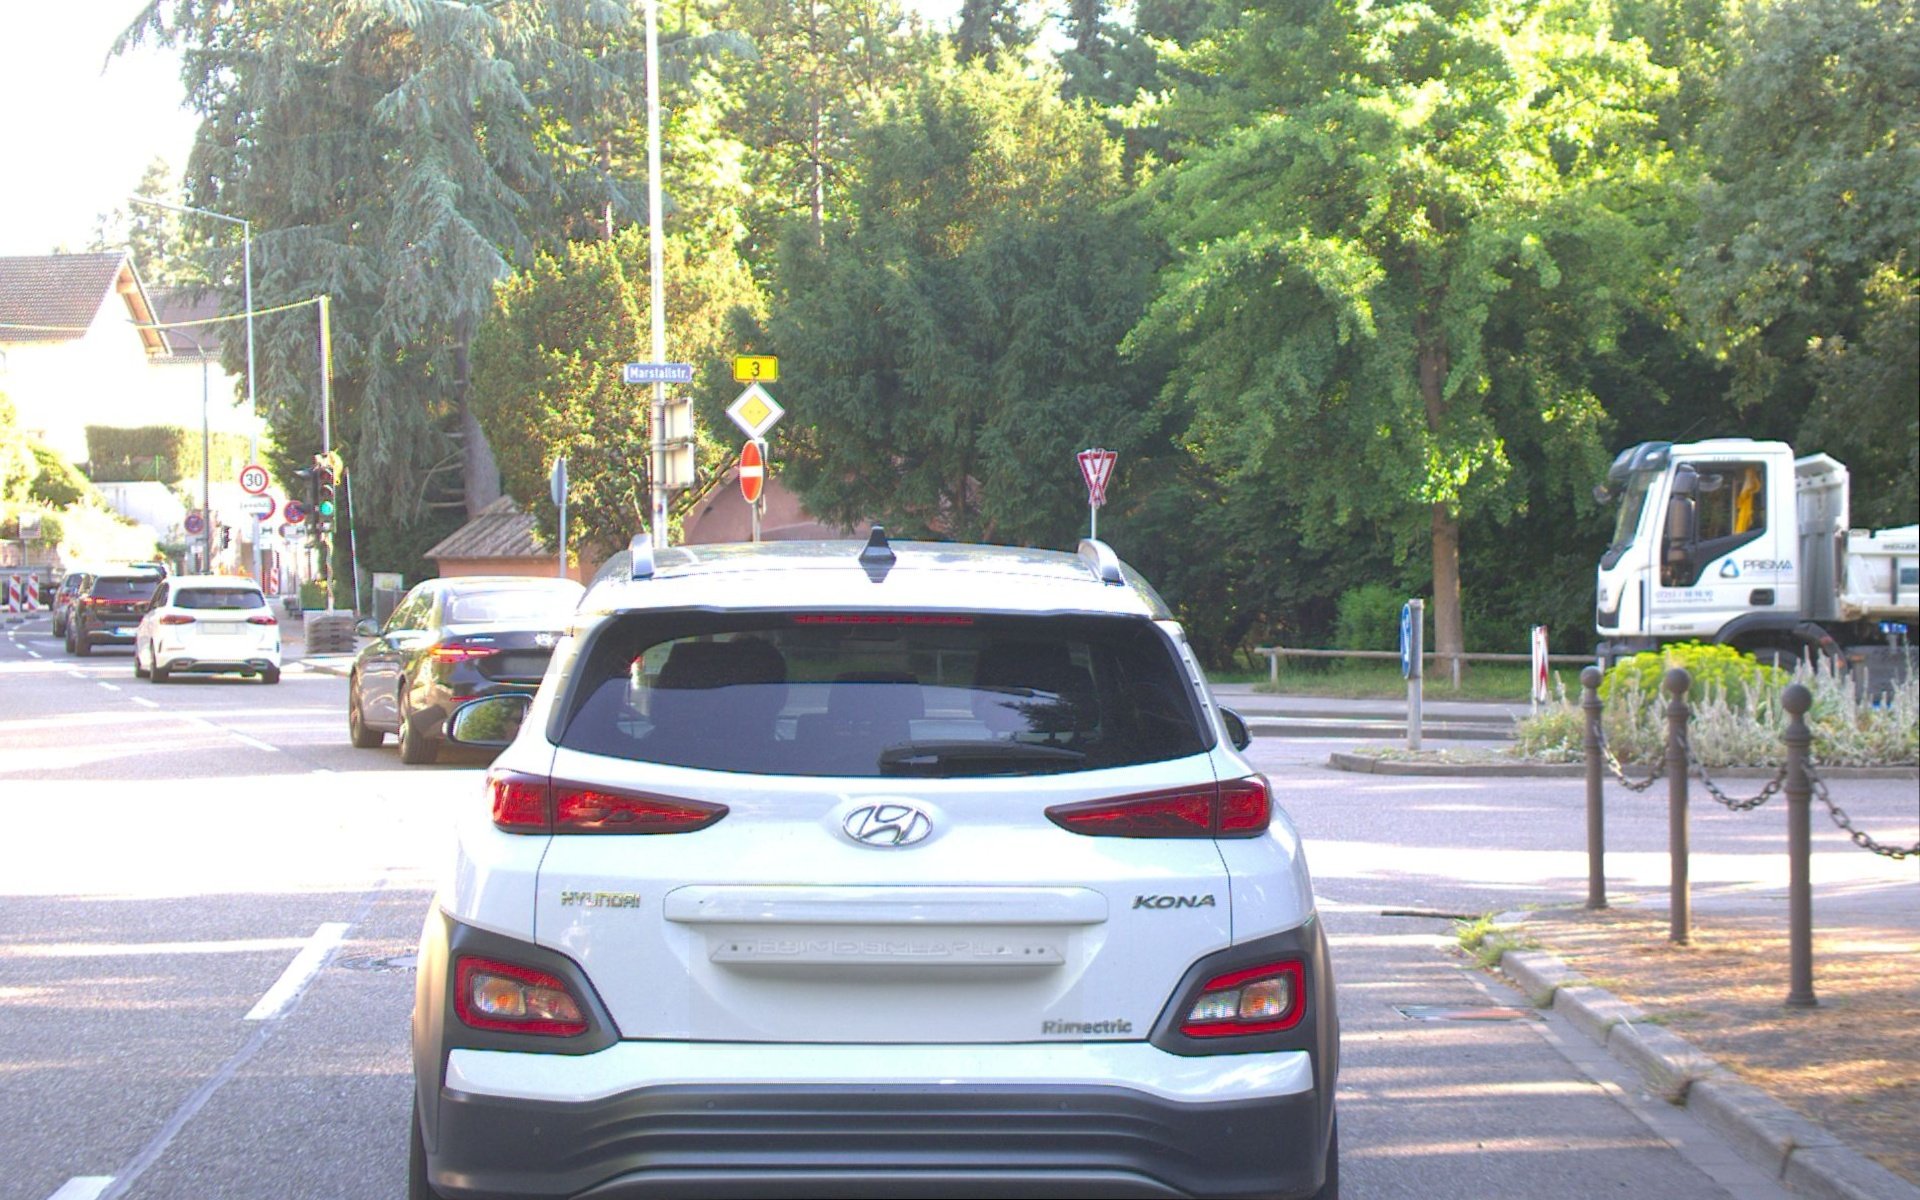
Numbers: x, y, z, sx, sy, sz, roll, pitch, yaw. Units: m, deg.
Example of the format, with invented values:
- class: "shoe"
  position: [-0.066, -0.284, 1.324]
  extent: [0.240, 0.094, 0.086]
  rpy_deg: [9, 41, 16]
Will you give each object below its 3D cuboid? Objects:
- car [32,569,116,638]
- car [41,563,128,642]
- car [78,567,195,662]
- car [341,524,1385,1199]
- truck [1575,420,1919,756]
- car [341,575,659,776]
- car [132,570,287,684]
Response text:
- class: "car"
  position: [-22.205, 0.065, 86.086]
  extent: [1.831, 1.656, 4.001]
  rpy_deg: [1, 0, -17]
- class: "car"
  position: [-20.293, 0.045, 79.577]
  extent: [1.831, 1.735, 4.001]
  rpy_deg: [1, 0, -16]
- class: "car"
  position: [-15.374, 0.245, 64.070]
  extent: [1.831, 1.656, 4.001]
  rpy_deg: [1, 1, -17]
- class: "car"
  position: [-0.189, 0.650, 8.076]
  extent: [1.820, 1.568, 4.000]
  rpy_deg: [1, 1, 0]
- class: "truck"
  position: [9.036, -0.077, 31.105]
  extent: [6.588, 2.885, 2.433]
  rpy_deg: [1, 0, 5]
- class: "car"
  position: [-3.770, 0.553, 27.575]
  extent: [1.707, 1.429, 4.366]
  rpy_deg: [1, 1, -18]
- class: "car"
  position: [-10.950, 0.368, 49.983]
  extent: [1.805, 1.532, 4.001]
  rpy_deg: [1, 1, -18]
